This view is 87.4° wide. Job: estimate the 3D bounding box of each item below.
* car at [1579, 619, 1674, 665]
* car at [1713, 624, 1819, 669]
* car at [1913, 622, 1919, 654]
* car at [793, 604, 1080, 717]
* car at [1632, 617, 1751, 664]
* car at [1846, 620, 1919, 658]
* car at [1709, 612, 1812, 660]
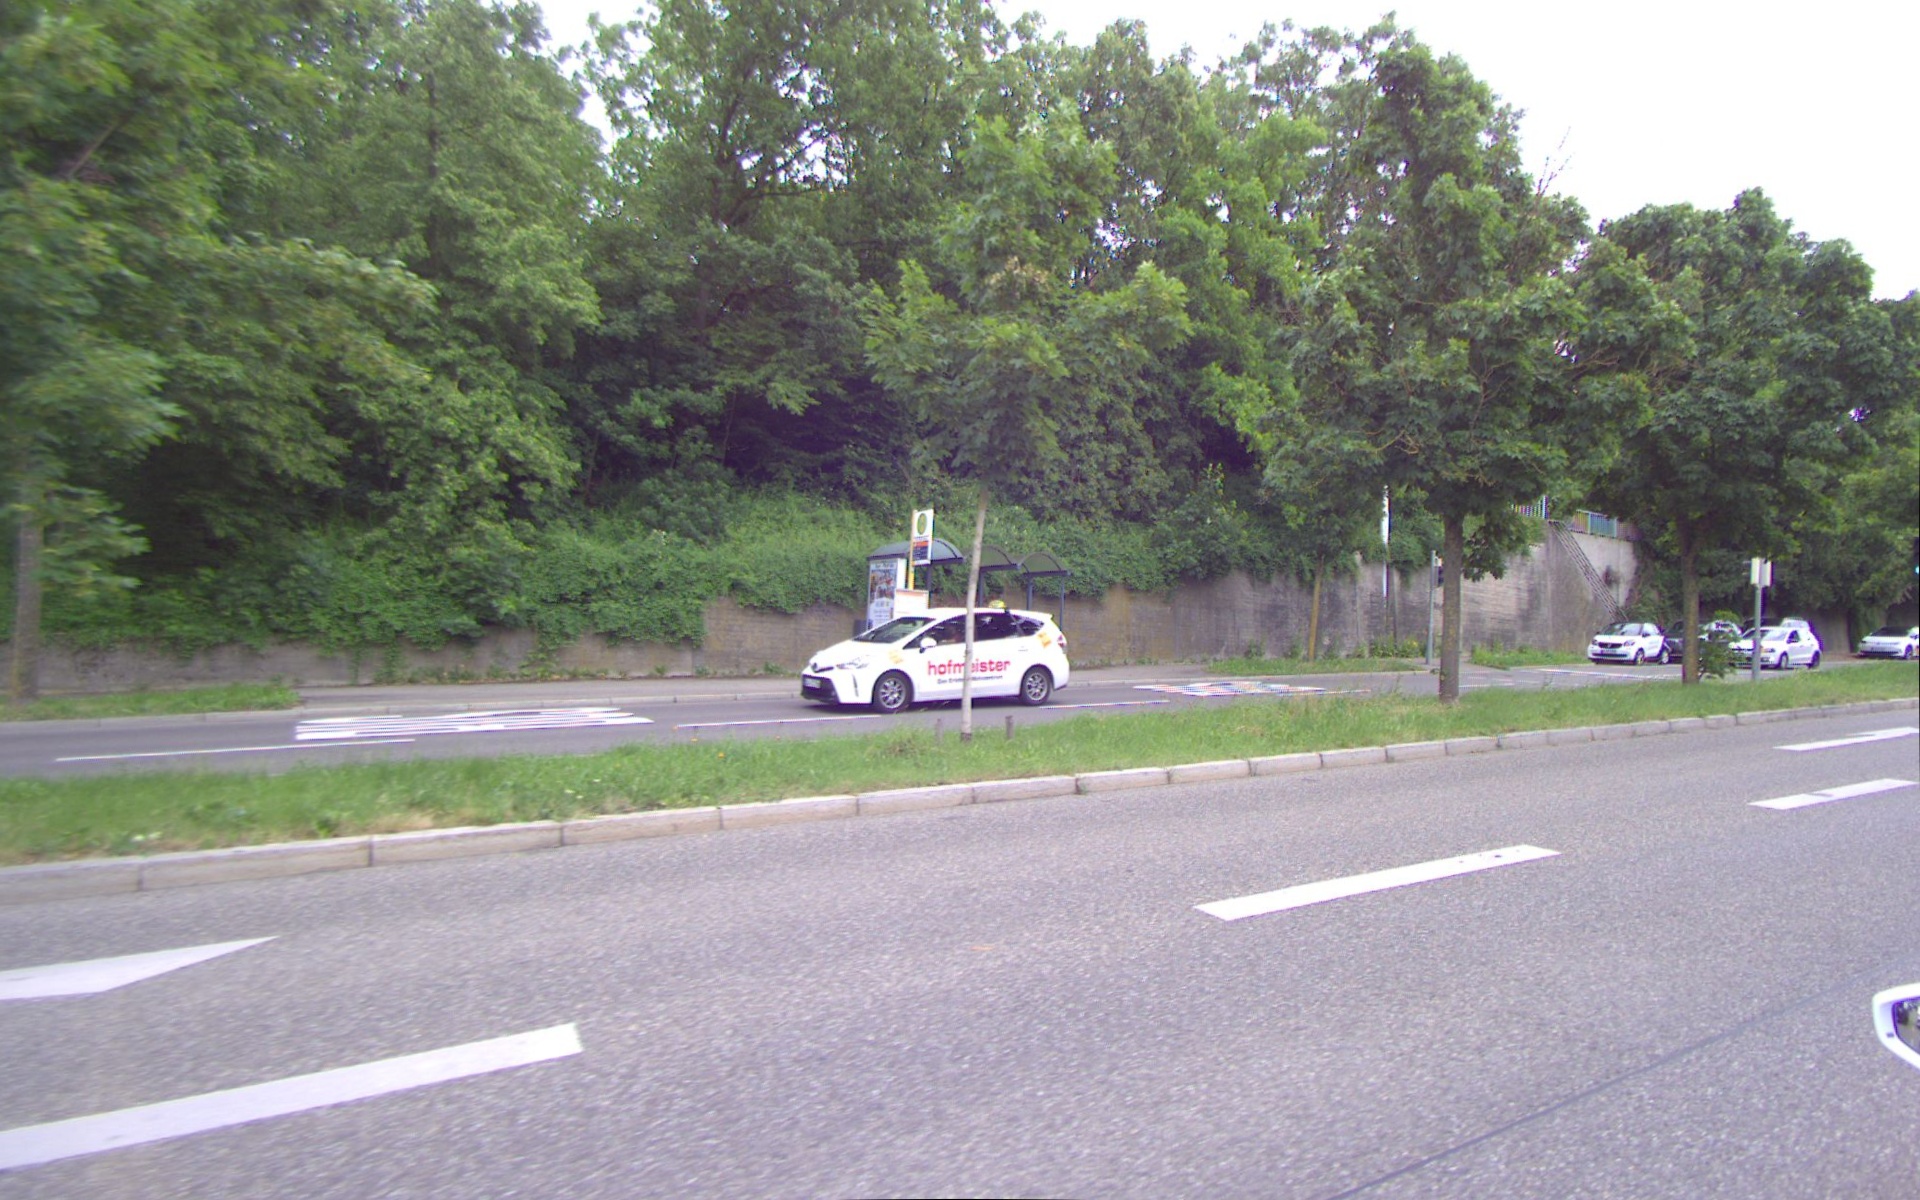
[{"bbox_3d":[24.167,1.482,36.414,3.064,1.518,1.769,1,1,-33],"label":"car"},{"bbox_3d":[28.346,1.600,35.303,3.747,1.447,1.720,1,1,-32],"label":"car"},{"bbox_3d":[49.080,1.909,49.417,4.241,1.549,1.707,1,1,-24],"label":"car"},{"bbox_3d":[-0.315,0.901,16.349,4.411,1.581,1.769,1,1,-33],"label":"car"},{"bbox_3d":[28.225,1.565,38.731,4.475,1.679,1.961,2,0,-28],"label":"car"},{"bbox_3d":[43.875,1.815,47.031,4.106,1.650,1.778,1,1,-19],"label":"car"},{"bbox_3d":[33.142,1.464,41.588,4.433,1.867,1.772,1,1,-29],"label":"car"}]
